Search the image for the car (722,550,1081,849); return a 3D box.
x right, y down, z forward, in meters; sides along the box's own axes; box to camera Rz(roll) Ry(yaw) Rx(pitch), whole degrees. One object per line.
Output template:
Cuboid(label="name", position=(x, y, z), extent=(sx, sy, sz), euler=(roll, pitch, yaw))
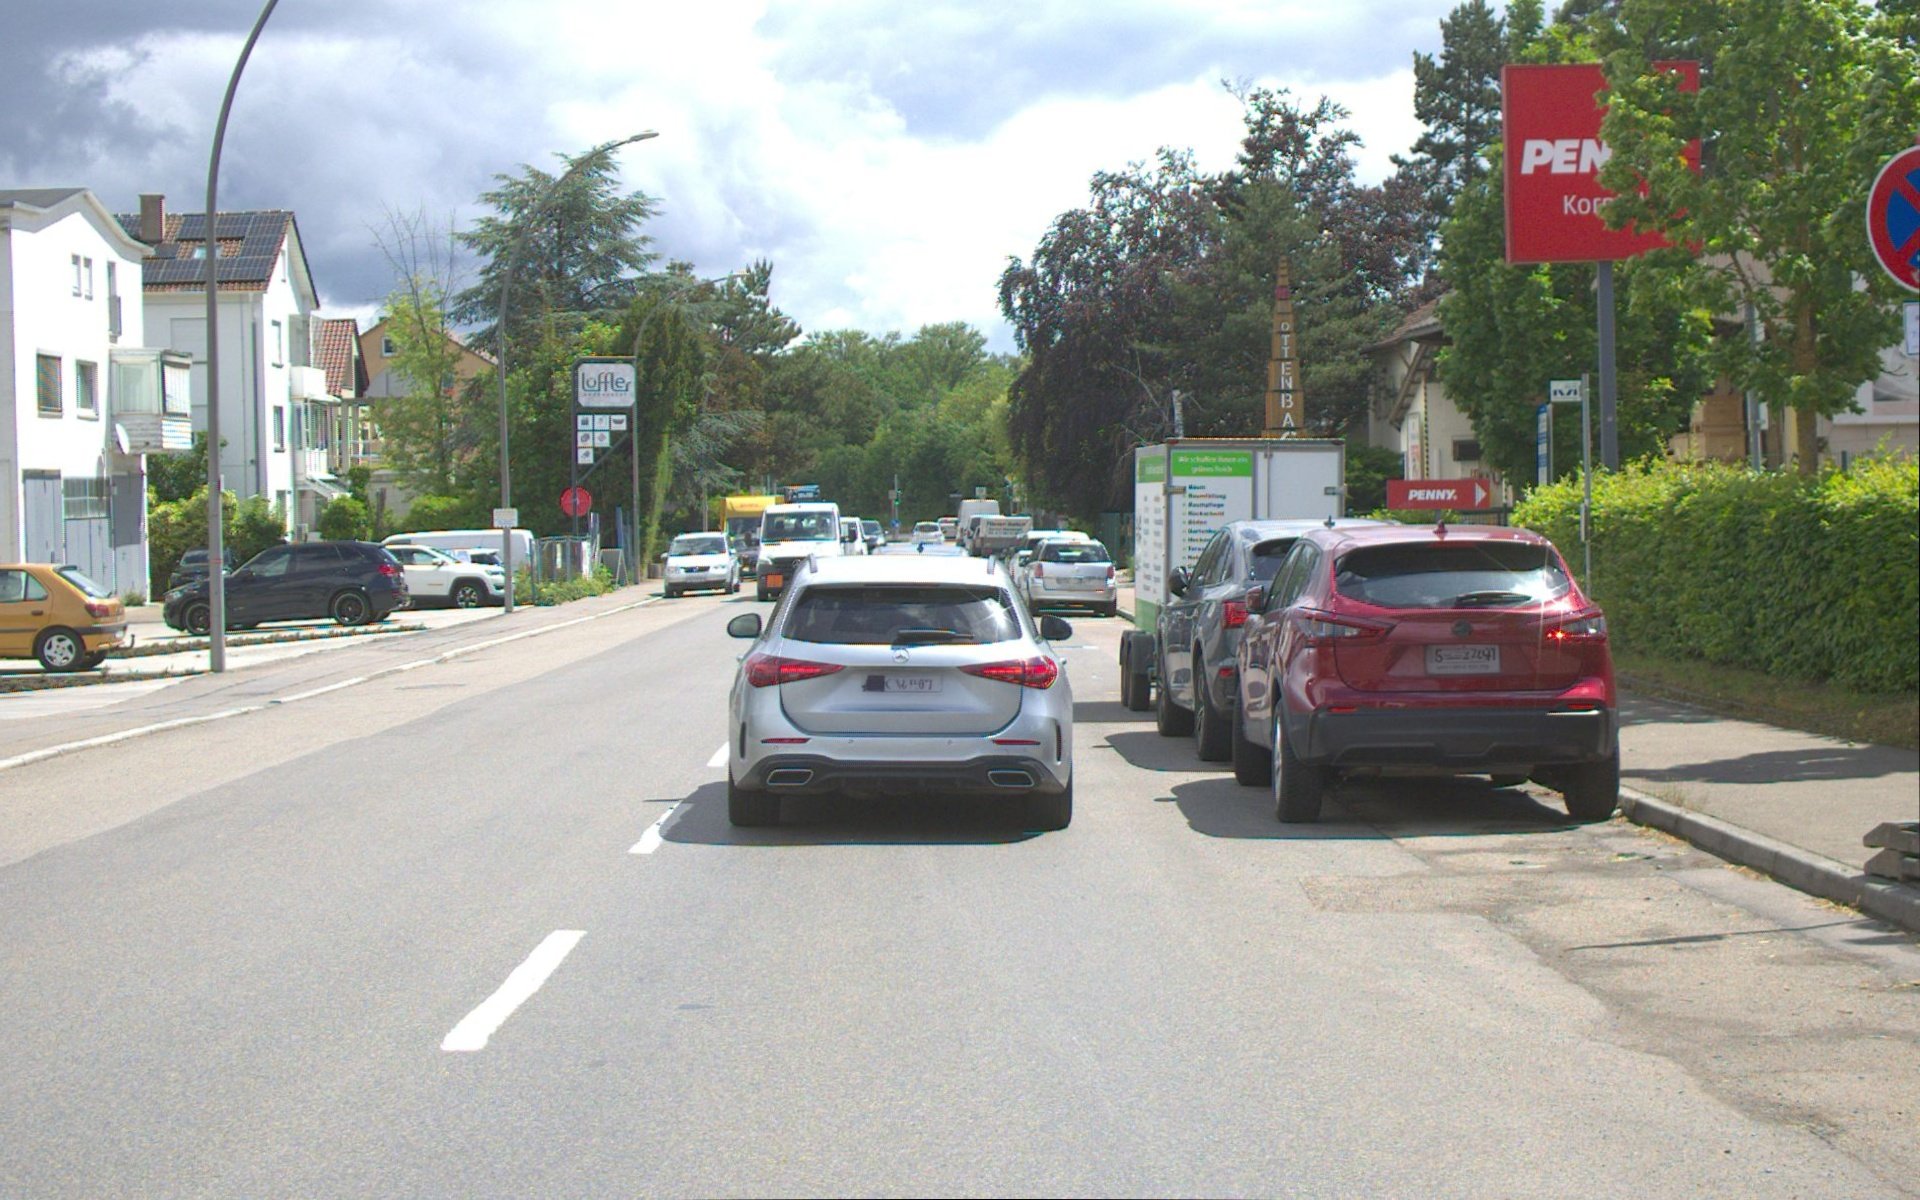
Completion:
Cuboid(label="car", position=(-0.380, 0.466, 19.269), extent=(1.784, 1.479, 4.317), euler=(0, 1, -2))

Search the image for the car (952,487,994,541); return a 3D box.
Cuboid(label="car", position=(0.617, -4.059, 162.896), extent=(1.784, 2.510, 4.317), euler=(0, 1, -2))

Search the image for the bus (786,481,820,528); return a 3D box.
Cuboid(label="bus", position=(-11.454, -6.974, 250.165), extent=(1.993, 3.352, 6.984), euler=(1, 2, -6))

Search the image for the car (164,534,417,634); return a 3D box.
Cuboid(label="car", position=(-13.353, -0.341, 68.789), extent=(4.626, 1.627, 2.198), euler=(-4, 2, -4))

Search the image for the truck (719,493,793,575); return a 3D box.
Cuboid(label="truck", position=(-7.320, -2.422, 123.760), extent=(2.075, 2.804, 7.078), euler=(-2, 2, 1))

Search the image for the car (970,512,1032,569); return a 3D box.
Cuboid(label="car", position=(1.468, -2.183, 125.518), extent=(2.144, 1.977, 5.261), euler=(-1, 1, 0))

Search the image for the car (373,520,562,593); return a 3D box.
Cuboid(label="car", position=(-11.811, -1.035, 82.662), extent=(4.279, 1.561, 1.991), euler=(-1, -2, -1))

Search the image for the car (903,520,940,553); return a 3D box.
Cuboid(label="car", position=(-1.919, -3.177, 170.761), extent=(1.755, 1.552, 4.001), euler=(-1, 2, -1))

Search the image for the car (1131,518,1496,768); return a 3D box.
Cuboid(label="car", position=(2.431, 0.227, 24.745), extent=(1.941, 1.566, 4.446), euler=(-2, 2, -3))

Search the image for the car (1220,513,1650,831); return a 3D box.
Cuboid(label="car", position=(2.601, 0.317, 19.836), extent=(1.941, 1.566, 4.446), euler=(-1, 2, 2))

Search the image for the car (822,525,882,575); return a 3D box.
Cuboid(label="car", position=(-4.020, -1.894, 129.024), extent=(1.993, 1.727, 4.548), euler=(-2, 2, 1))

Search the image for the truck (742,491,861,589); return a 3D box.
Cuboid(label="truck", position=(-3.727, -1.461, 81.883), extent=(2.319, 2.171, 6.449), euler=(-2, 2, 1))

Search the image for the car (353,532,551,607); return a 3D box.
Cuboid(label="car", position=(-11.764, -0.705, 79.749), extent=(4.279, 1.561, 1.991), euler=(-1, -2, 0))

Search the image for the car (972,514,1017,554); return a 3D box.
Cuboid(label="car", position=(1.502, -2.901, 150.981), extent=(1.784, 1.709, 4.317), euler=(0, 1, -2))

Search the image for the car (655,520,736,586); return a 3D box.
Cuboid(label="car", position=(-6.896, -1.249, 90.070), extent=(1.791, 1.598, 4.364), euler=(-2, 2, -1))

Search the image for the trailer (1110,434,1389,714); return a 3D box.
Cuboid(label="trailer", position=(2.516, -0.269, 30.907), extent=(1.941, 2.286, 4.446), euler=(-1, 1, -2))

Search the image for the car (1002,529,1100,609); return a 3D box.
Cuboid(label="car", position=(1.884, -0.682, 72.521), extent=(1.791, 1.546, 4.574), euler=(-2, 2, -1))

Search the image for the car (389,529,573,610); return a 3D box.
Cuboid(label="car", position=(-11.817, -0.753, 84.955), extent=(4.279, 1.830, 1.991), euler=(-1, -2, -1))

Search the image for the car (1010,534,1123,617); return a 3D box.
Cuboid(label="car", position=(2.035, -0.502, 66.652), extent=(1.791, 1.445, 4.364), euler=(-2, 2, -3))

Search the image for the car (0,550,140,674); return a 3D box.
Cuboid(label="car", position=(-12.748, 0.120, 43.938), extent=(4.149, 1.486, 1.826), euler=(1, 2, -4))

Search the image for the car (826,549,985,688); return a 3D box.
Cuboid(label="car", position=(-0.713, 0.182, 42.412), extent=(1.755, 1.552, 4.001), euler=(-1, 2, -4))
